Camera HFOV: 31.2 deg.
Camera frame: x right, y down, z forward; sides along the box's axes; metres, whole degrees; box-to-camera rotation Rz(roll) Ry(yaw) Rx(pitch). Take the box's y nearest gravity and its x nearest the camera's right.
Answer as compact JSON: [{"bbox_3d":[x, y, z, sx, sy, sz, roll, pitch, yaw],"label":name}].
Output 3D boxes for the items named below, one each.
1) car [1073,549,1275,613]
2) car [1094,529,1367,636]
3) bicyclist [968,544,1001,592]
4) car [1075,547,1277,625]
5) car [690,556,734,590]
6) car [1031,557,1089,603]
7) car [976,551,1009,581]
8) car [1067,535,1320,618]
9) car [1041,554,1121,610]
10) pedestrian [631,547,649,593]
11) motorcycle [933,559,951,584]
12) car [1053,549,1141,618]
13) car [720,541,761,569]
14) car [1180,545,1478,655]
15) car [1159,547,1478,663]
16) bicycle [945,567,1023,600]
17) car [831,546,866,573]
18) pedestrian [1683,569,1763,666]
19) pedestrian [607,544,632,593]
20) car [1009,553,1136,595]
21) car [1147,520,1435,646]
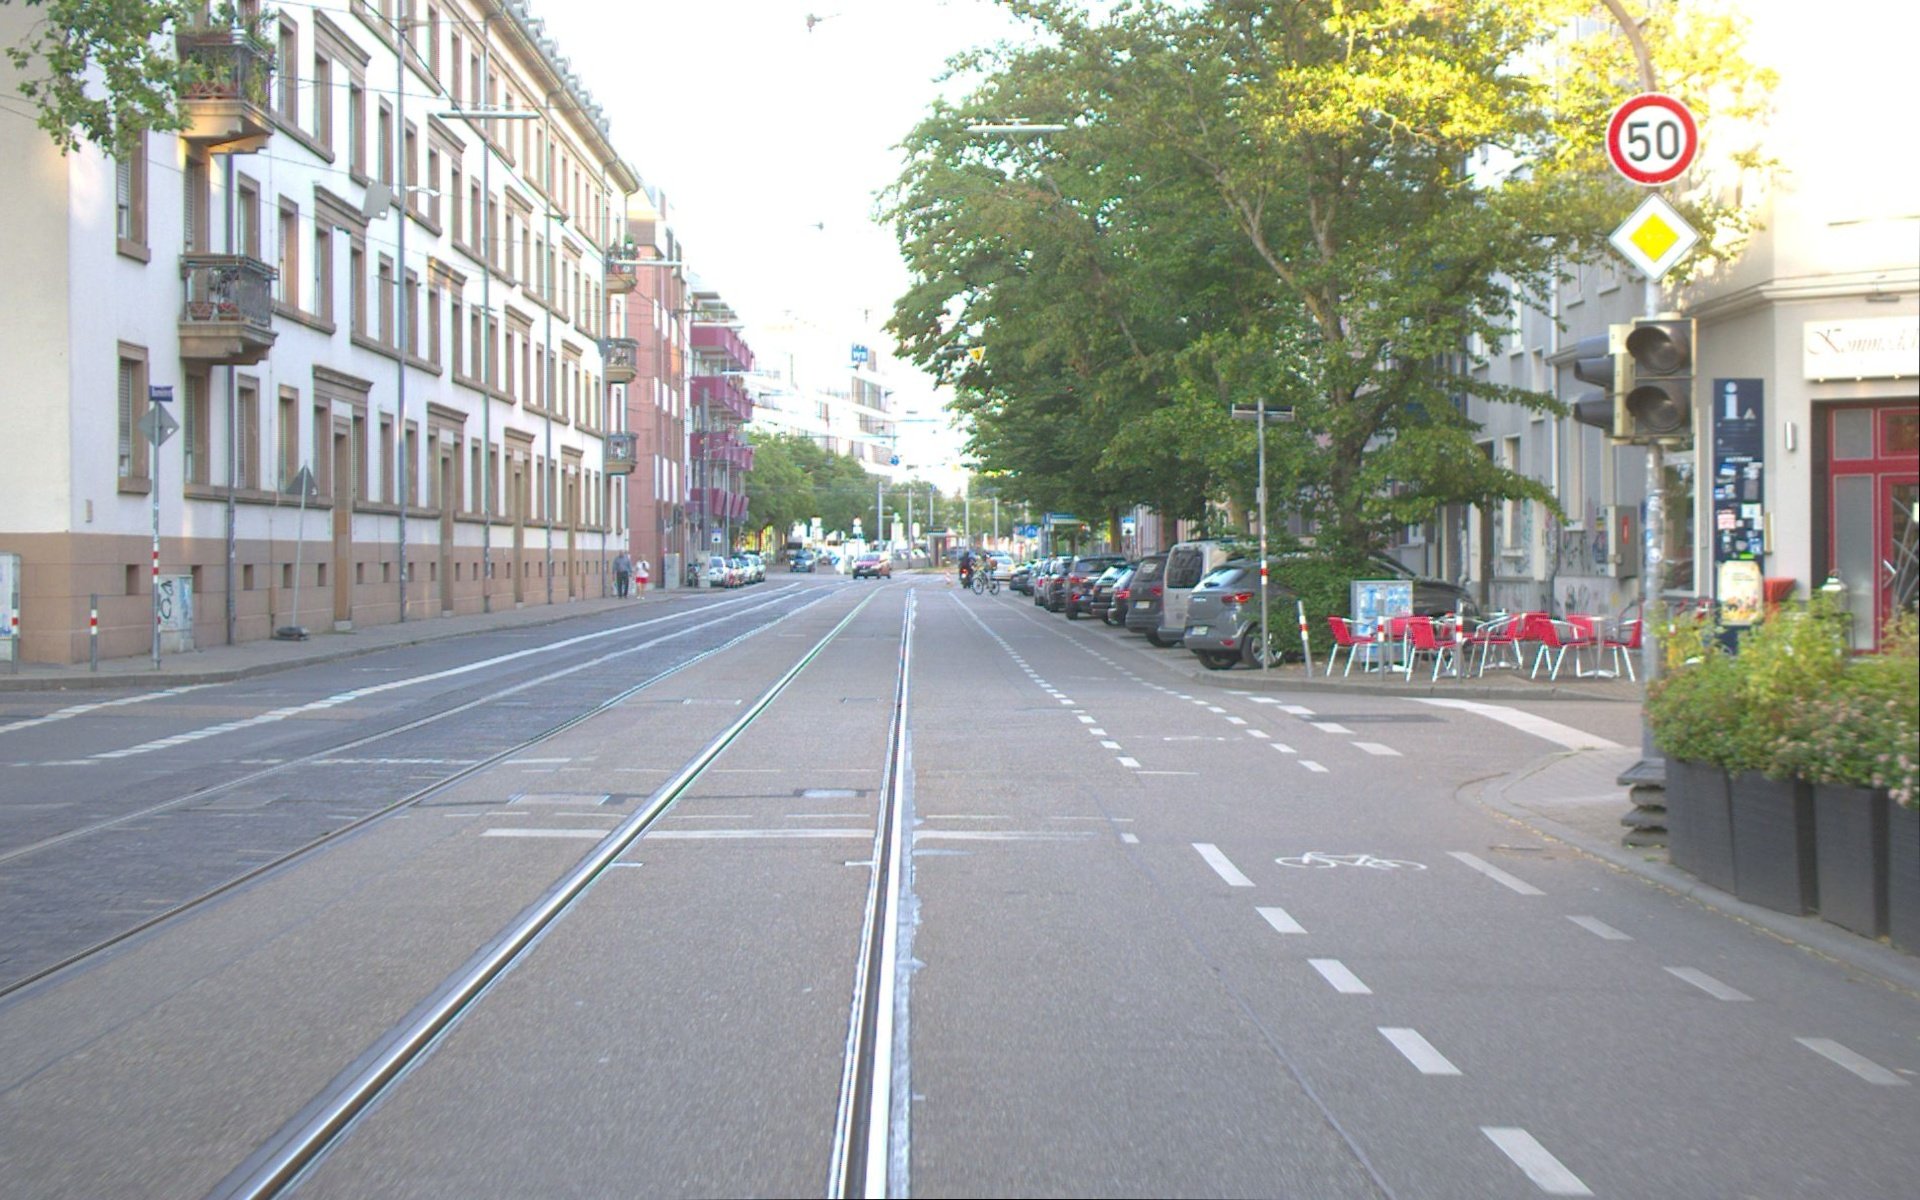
[{"bbox_3d":[4.784,-0.433,76.645,4.248,1.383,1.621,0,1,-26],"label":"car"},{"bbox_3d":[4.566,-0.316,58.044,4.178,1.690,1.847,-1,1,-22],"label":"car"},{"bbox_3d":[1.038,-1.357,145.261,1.214,2.007,0.947,-1,1,-8],"label":"bicyclist"},{"bbox_3d":[4.626,-0.323,73.717,3.960,1.548,1.720,-1,2,-18],"label":"car"},{"bbox_3d":[-11.702,-1.299,162.539,1.717,1.550,4.204,1,1,0],"label":"car"},{"bbox_3d":[3.136,-0.650,108.303,1.619,1.376,3.776,-2,1,-1],"label":"car"},{"bbox_3d":[1.738,-1.817,183.084,1.717,1.550,4.204,1,1,1],"label":"car"},{"bbox_3d":[4.373,-0.455,64.408,4.376,1.459,1.720,-1,1,-18],"label":"car"},{"bbox_3d":[3.317,-0.517,94.849,1.993,1.484,5.036,-1,1,0],"label":"car"},{"bbox_3d":[-11.078,-1.038,118.935,0.590,1.604,0.811,0,1,-3],"label":"pedestrian"},{"bbox_3d":[-0.889,-1.426,170.506,0.828,1.236,2.491,0,1,-2],"label":"motorcycle"},{"bbox_3d":[3.387,-0.434,85.757,1.879,1.612,4.262,-2,1,-1],"label":"car"},{"bbox_3d":[-11.650,-2.365,182.472,1.691,1.409,4.677,2,1,2],"label":"car"},{"bbox_3d":[5.400,-0.023,50.318,3.986,1.561,1.720,0,1,-22],"label":"car"},{"bbox_3d":[4.922,0.051,47.268,3.986,1.535,1.780,0,1,-20],"label":"car"},{"bbox_3d":[1.030,-0.710,145.264,3.170,1.349,0.958,-1,0,-9],"label":"bicycle"},{"bbox_3d":[-6.587,-2.388,203.112,1.559,1.553,3.754,-1,1,5],"label":"car"},{"bbox_3d":[9.240,0.209,41.646,0.649,1.151,0.691,0,1,-24],"label":"pedestrian"},{"bbox_3d":[-11.767,-1.081,118.832,0.795,1.696,0.981,0,1,-3],"label":"pedestrian"},{"bbox_3d":[4.358,-1.014,133.567,4.443,1.511,2.064,-1,1,-23],"label":"car"},{"bbox_3d":[5.096,-0.283,52.900,3.986,1.809,1.825,-2,1,-22],"label":"car"}]
